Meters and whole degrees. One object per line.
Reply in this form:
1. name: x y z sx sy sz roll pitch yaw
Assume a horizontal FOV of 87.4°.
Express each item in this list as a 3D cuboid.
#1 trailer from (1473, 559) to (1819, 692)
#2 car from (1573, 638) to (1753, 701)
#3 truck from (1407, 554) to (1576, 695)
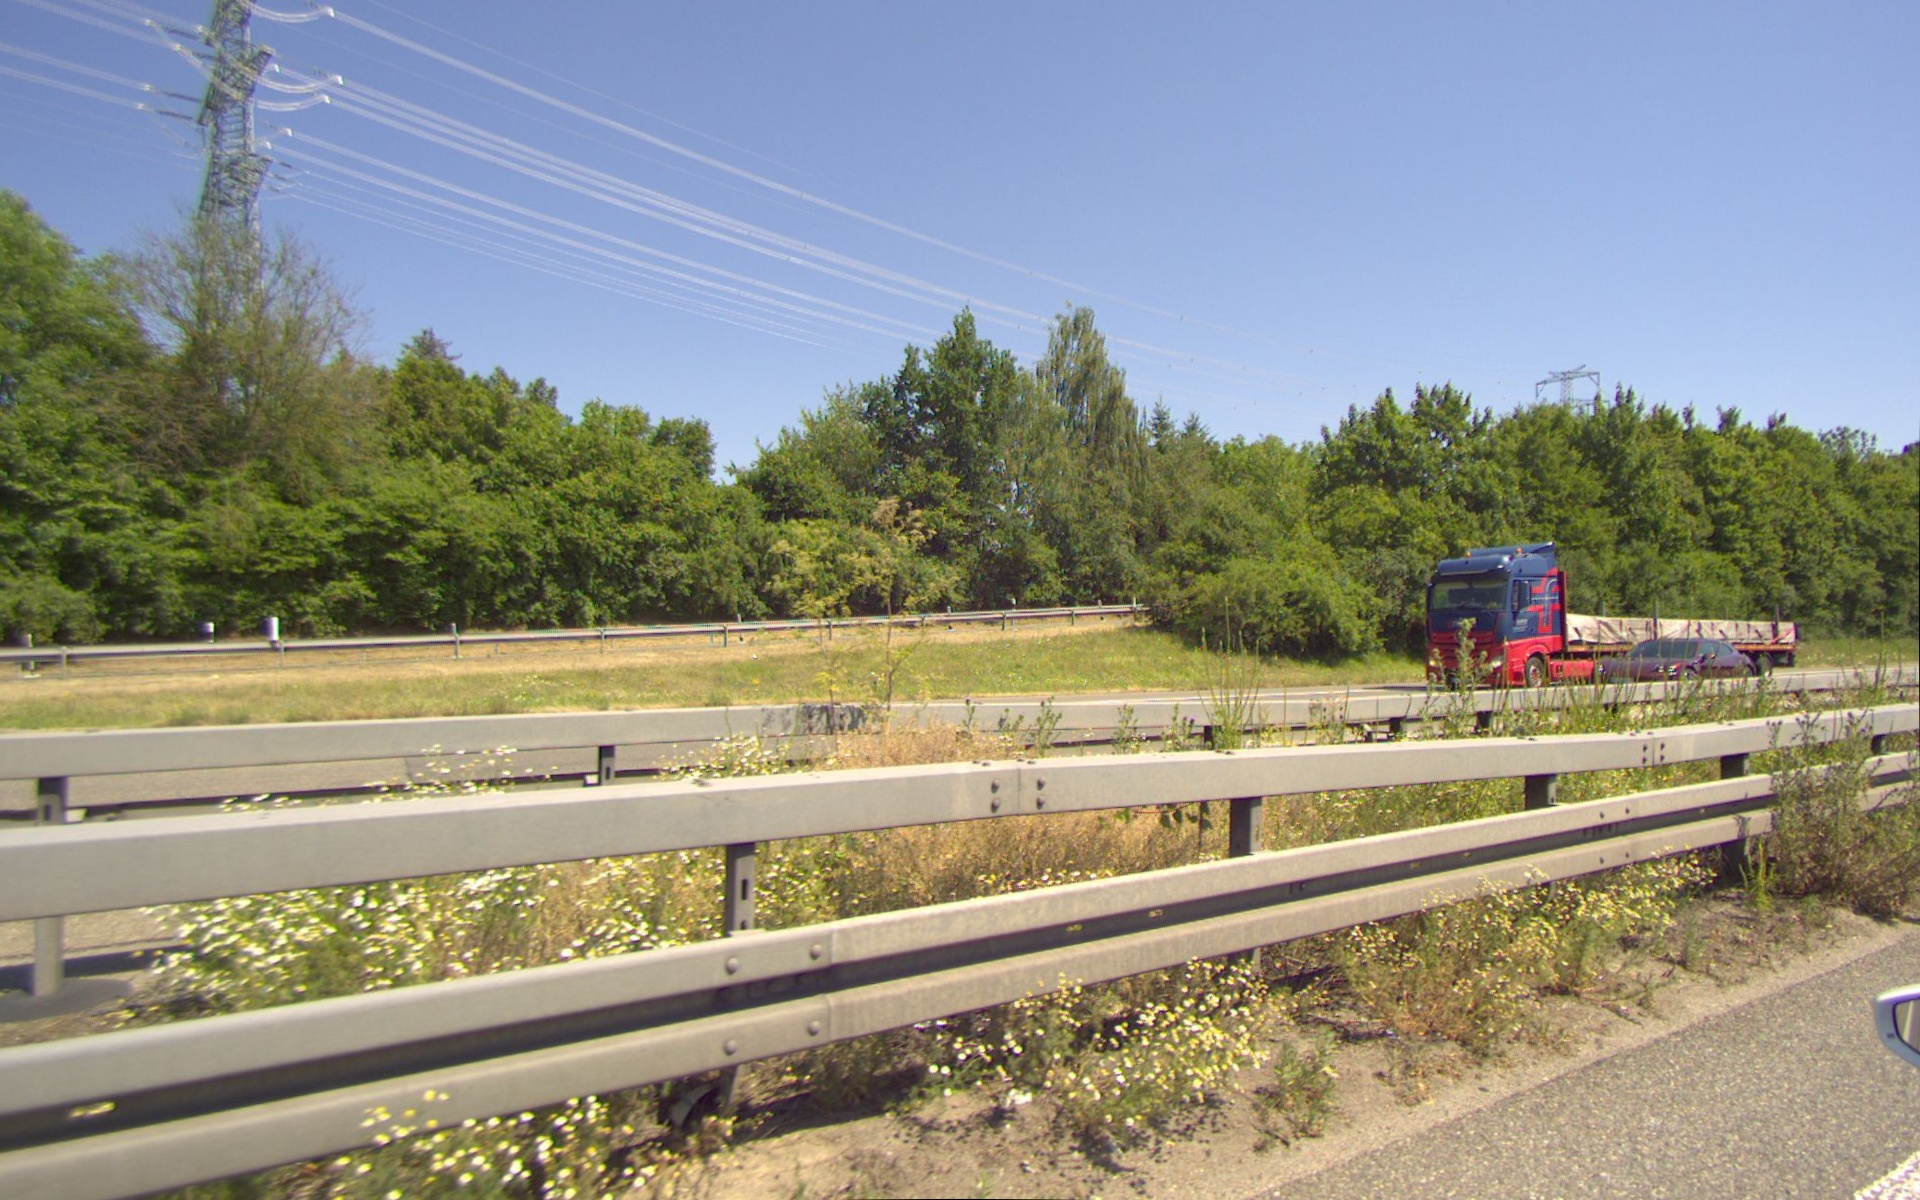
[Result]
1. trailer: 22.786 0.873 32.642 15.838 3.605 2.981 1 -1 -31
2. car: 16.813 1.598 23.954 4.867 1.352 1.760 1 -2 -32
3. truck: 14.631 0.679 27.731 3.082 3.605 2.982 1 -1 -30
